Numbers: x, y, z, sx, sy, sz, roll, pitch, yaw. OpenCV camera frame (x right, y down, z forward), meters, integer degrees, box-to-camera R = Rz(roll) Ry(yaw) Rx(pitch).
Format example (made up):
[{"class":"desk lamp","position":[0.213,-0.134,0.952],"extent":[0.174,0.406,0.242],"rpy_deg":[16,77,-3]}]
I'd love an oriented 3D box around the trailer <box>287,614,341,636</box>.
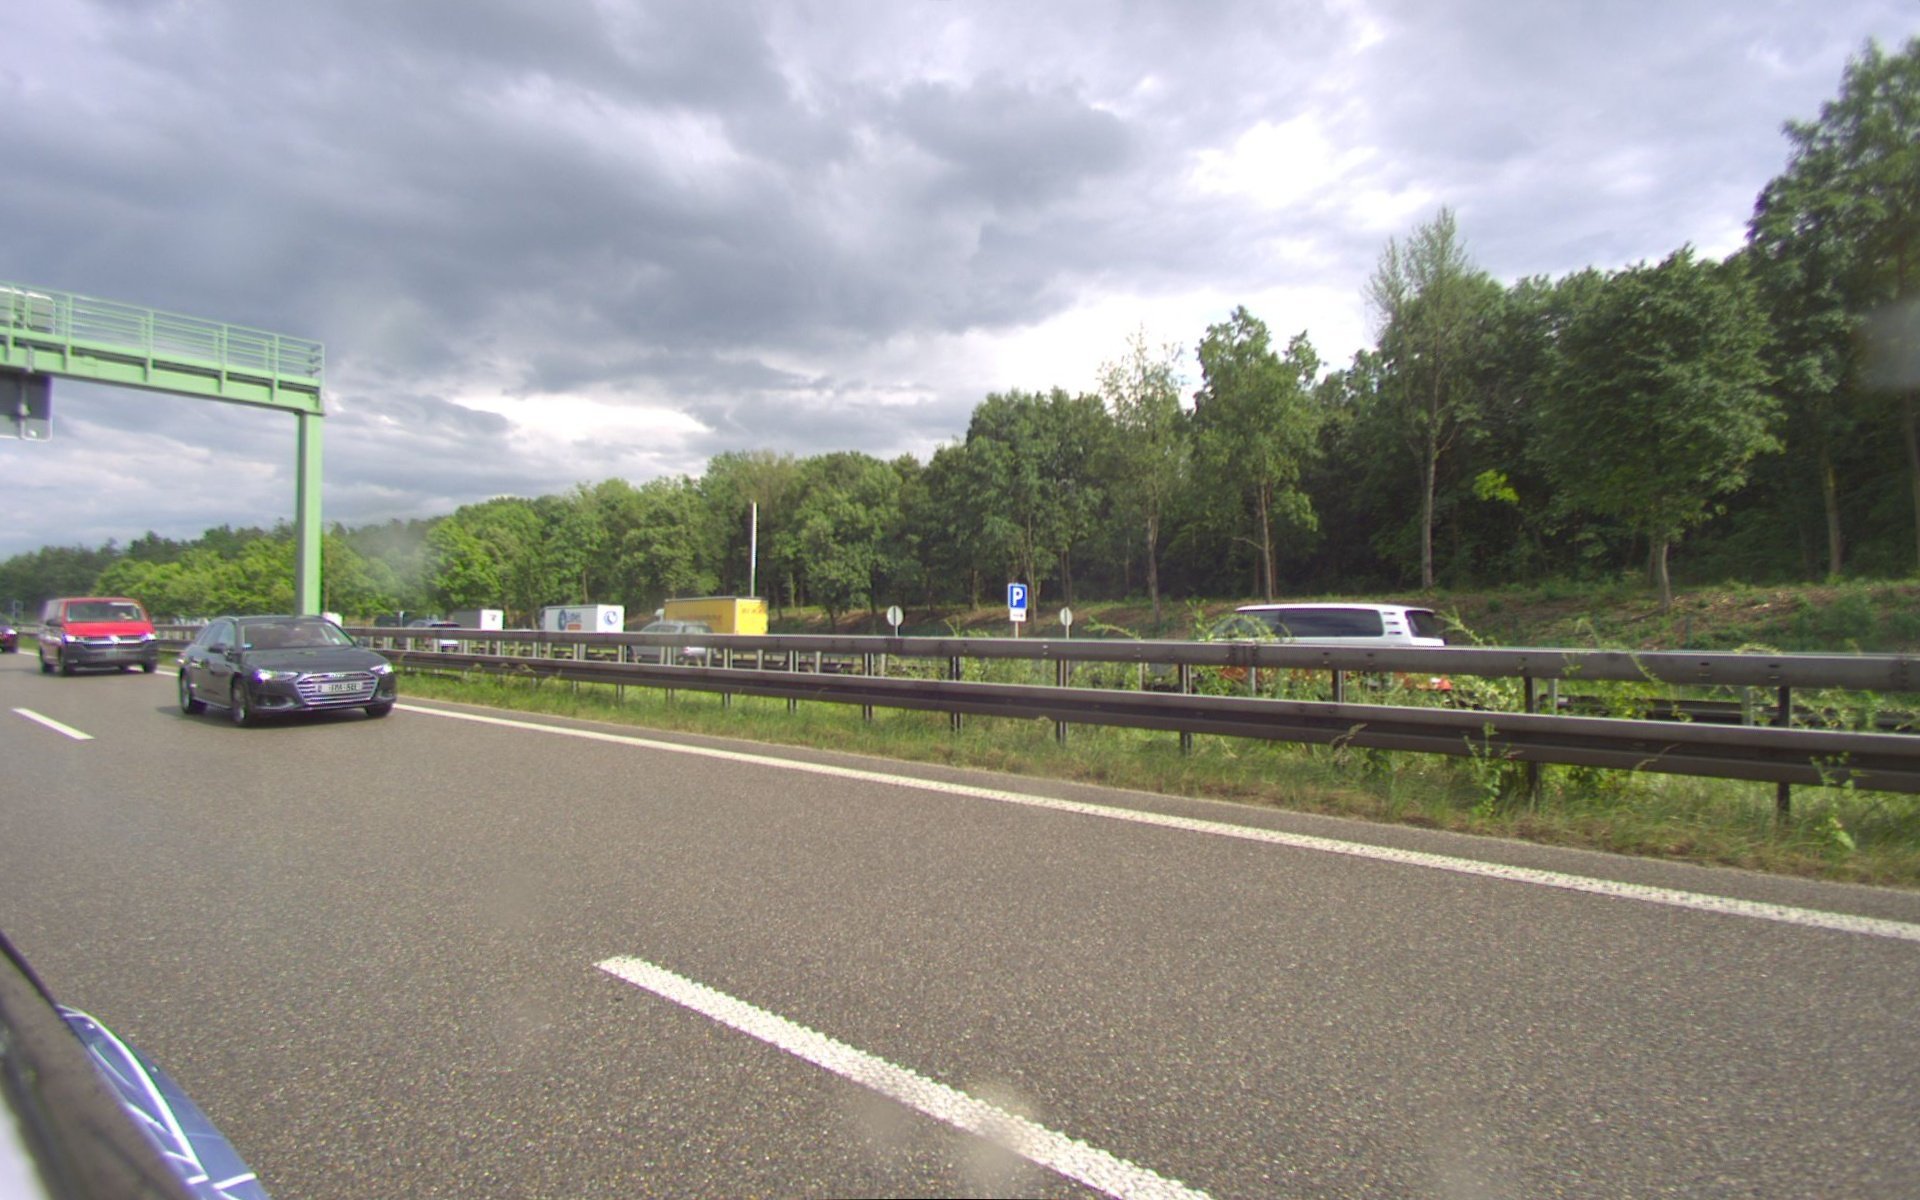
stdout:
[{"class":"trailer","position":[-101.329,3.961,158.541],"extent":[12.631,3.296,3.153],"rpy_deg":[-1,-2,38]}]

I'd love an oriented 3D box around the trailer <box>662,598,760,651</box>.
[{"class":"trailer","position":[-19.182,1.772,76.915],"extent":[1.967,3.722,13.688],"rpy_deg":[0,0,-37]}]

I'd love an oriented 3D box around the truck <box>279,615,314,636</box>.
[{"class":"truck","position":[-106.681,4.076,162.793],"extent":[5.385,3.280,3.142],"rpy_deg":[-1,-3,39]}]

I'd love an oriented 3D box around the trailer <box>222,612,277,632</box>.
[{"class":"trailer","position":[-121.515,3.820,172.966],"extent":[13.374,3.296,3.050],"rpy_deg":[-1,-2,34]}]

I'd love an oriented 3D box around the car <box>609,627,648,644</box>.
[{"class":"car","position":[-29.899,3.201,91.253],"extent":[1.871,1.514,4.005],"rpy_deg":[2,-2,-41]}]

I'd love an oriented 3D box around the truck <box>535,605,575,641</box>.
[{"class":"truck","position":[-42.171,2.393,105.294],"extent":[2.136,3.648,5.585],"rpy_deg":[2,-2,-42]}]

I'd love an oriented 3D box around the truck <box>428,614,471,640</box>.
[{"class":"truck","position":[-65.079,3.405,129.015],"extent":[5.596,3.208,3.009],"rpy_deg":[-1,-2,43]}]

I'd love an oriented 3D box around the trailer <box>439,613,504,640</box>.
[{"class":"trailer","position":[-60.218,3.292,124.536],"extent":[12.173,3.217,2.987],"rpy_deg":[-1,-2,43]}]

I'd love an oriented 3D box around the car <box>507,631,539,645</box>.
[{"class":"car","position":[-49.031,4.240,113.525],"extent":[4.002,1.514,1.873],"rpy_deg":[-1,-2,45]}]

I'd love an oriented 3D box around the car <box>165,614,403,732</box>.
[{"class":"car","position":[-9.775,0.937,14.490],"extent":[4.465,1.422,1.701],"rpy_deg":[-1,-1,41]}]

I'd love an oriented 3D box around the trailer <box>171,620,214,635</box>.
[{"class":"trailer","position":[-139.136,4.948,183.408],"extent":[9.839,2.594,2.512],"rpy_deg":[-1,-1,30]}]

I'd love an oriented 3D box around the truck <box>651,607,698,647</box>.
[{"class":"truck","position":[-23.242,2.121,82.346],"extent":[1.950,3.121,5.087],"rpy_deg":[-1,0,-37]}]

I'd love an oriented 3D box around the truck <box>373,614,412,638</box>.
[{"class":"truck","position":[-79.314,3.614,141.384],"extent":[6.532,3.275,2.549],"rpy_deg":[-1,-2,41]}]

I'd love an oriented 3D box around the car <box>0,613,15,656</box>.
[{"class":"car","position":[-39.960,1.395,41.083],"extent":[4.292,1.682,1.871],"rpy_deg":[-1,-1,40]}]

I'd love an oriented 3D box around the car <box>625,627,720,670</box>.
[{"class":"car","position":[-10.682,1.767,37.498],"extent":[3.784,1.493,1.614],"rpy_deg":[-1,-1,41]}]

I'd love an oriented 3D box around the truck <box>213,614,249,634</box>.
[{"class":"truck","position":[-127.526,4.200,177.047],"extent":[6.081,3.280,3.047],"rpy_deg":[0,-3,34]}]

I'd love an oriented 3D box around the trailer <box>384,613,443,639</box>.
[{"class":"trailer","position":[-73.908,3.519,136.745],"extent":[12.640,3.296,2.577],"rpy_deg":[-1,-3,41]}]

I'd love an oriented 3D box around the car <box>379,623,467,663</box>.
[{"class":"car","position":[-22.539,1.768,42.423],"extent":[3.997,1.592,1.902],"rpy_deg":[-1,-2,40]}]

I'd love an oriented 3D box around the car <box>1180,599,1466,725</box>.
[{"class":"car","position":[6.201,0.999,17.592],"extent":[4.287,1.926,1.904],"rpy_deg":[-1,-2,41]}]

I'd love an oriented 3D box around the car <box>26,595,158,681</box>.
[{"class":"car","position":[-22.286,0.922,25.933],"extent":[4.747,2.000,1.871],"rpy_deg":[-1,-1,41]}]

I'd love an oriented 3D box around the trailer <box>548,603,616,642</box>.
[{"class":"trailer","position":[-37.452,2.245,99.979],"extent":[2.156,3.627,11.734],"rpy_deg":[2,-2,-41]}]
